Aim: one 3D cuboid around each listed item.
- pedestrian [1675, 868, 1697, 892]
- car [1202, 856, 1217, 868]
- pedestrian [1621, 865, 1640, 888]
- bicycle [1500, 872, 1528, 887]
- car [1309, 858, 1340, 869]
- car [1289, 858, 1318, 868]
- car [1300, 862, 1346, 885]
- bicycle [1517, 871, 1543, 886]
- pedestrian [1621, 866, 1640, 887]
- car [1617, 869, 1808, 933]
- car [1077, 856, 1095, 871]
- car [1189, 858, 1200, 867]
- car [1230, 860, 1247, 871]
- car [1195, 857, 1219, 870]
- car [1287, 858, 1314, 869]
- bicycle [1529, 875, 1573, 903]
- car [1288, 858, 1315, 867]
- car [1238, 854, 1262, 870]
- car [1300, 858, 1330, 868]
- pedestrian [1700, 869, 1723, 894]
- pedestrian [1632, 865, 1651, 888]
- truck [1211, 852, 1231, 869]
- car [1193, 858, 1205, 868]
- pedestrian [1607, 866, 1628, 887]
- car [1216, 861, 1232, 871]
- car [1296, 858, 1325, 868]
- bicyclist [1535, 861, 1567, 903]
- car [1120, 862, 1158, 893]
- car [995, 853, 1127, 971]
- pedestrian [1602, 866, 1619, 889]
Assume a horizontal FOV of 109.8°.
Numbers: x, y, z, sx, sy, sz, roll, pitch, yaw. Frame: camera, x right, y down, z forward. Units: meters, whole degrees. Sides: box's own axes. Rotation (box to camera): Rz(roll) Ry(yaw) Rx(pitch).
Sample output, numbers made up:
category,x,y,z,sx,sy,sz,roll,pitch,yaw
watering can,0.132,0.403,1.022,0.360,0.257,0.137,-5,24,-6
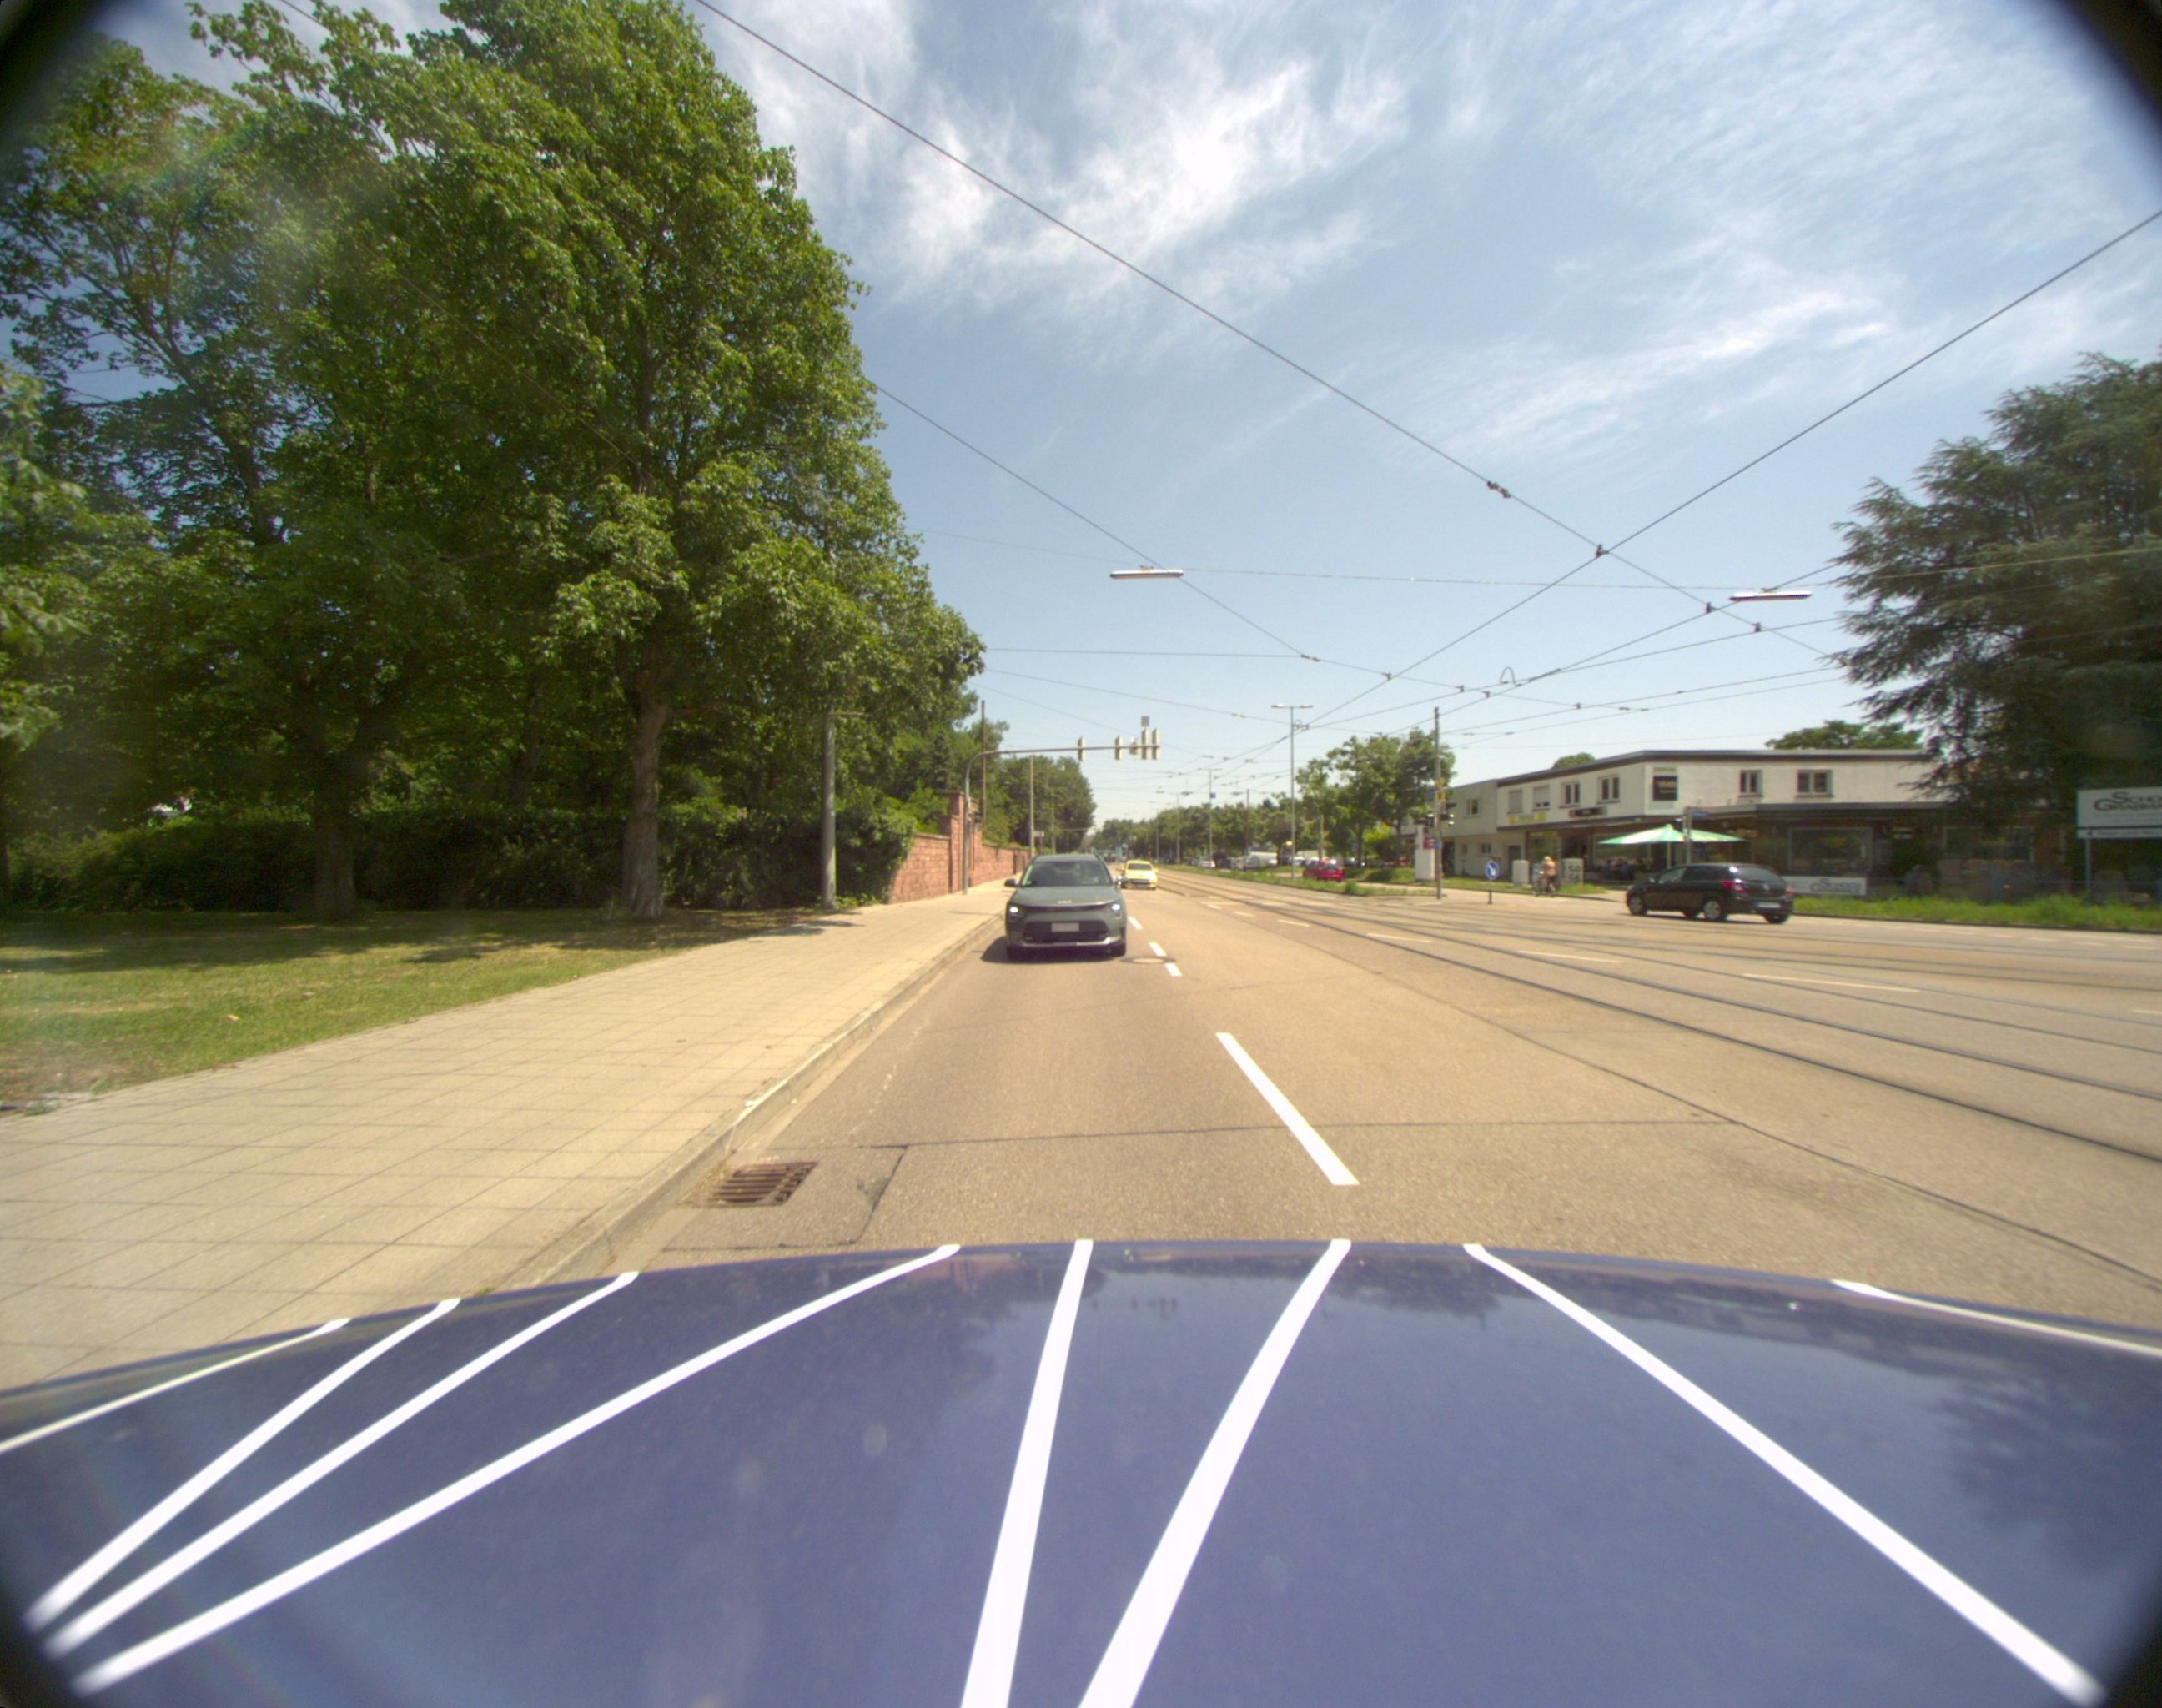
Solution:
category,x,y,z,sx,sy,sz,roll,pitch,yaw
pedestrian,29.031,1.251,36.472,0.518,1.121,0.674,0,0,1
car,21.750,1.387,128.782,1.681,1.963,4.509,1,0,0
pedestrian,29.360,1.191,40.635,0.518,1.192,0.674,0,0,1
bicycle,26.524,1.536,46.551,0.603,0.843,1.959,-2,0,1
car,31.101,1.208,97.157,3.414,1.385,1.603,0,0,-4
car,30.757,1.209,105.025,3.414,1.385,1.603,0,0,-4
car,16.235,1.283,51.155,1.629,1.475,3.827,0,0,-4
bicycle,27.664,1.493,46.799,0.529,0.843,1.787,-2,0,1
pedestrian,30.135,1.232,41.684,0.518,1.157,0.674,0,0,1
car,16.177,1.140,19.754,1.714,1.430,3.865,0,0,-1
car,0.553,1.127,87.397,1.998,1.652,4.000,0,0,1
car,21.800,1.606,146.018,1.681,1.693,3.823,1,0,0
car,20.550,1.510,99.290,1.674,1.378,3.569,1,0,3
car,15.830,1.180,95.603,1.999,1.543,4.138,2,0,-3
car,31.905,1.395,110.579,3.414,1.497,1.603,0,0,-4
bicycle,20.388,1.506,32.991,0.696,1.142,1.932,0,-1,0
car,31.305,1.202,107.917,3.414,1.385,1.603,0,0,-4
car,20.550,0.919,92.688,1.998,1.872,4.662,0,0,1
car,30.551,1.175,99.421,3.414,1.385,1.603,0,0,-4
pedestrian,28.984,1.263,34.928,0.518,1.121,0.674,0,0,1
pedestrian,29.997,1.208,40.641,0.518,1.202,0.674,0,0,1
truck,21.180,0.979,115.238,2.225,2.526,4.929,1,0,1
car,21.615,1.592,139.233,1.681,1.783,4.203,1,0,0
pedestrian,29.411,1.211,41.637,0.566,1.121,0.810,0,0,1
car,20.559,1.695,109.357,1.674,1.378,3.670,0,0,3
car,30.992,1.234,102.642,3.414,1.385,1.603,0,0,-4
bicyclist,20.389,1.199,32.958,0.696,1.755,1.137,0,-1,0
car,2.920,1.171,38.790,1.620,1.413,3.655,3,0,0
car,-0.235,0.816,12.706,1.789,1.561,4.184,-2,0,1
pedestrian,28.688,1.279,41.193,0.576,1.231,0.491,0,1,0
